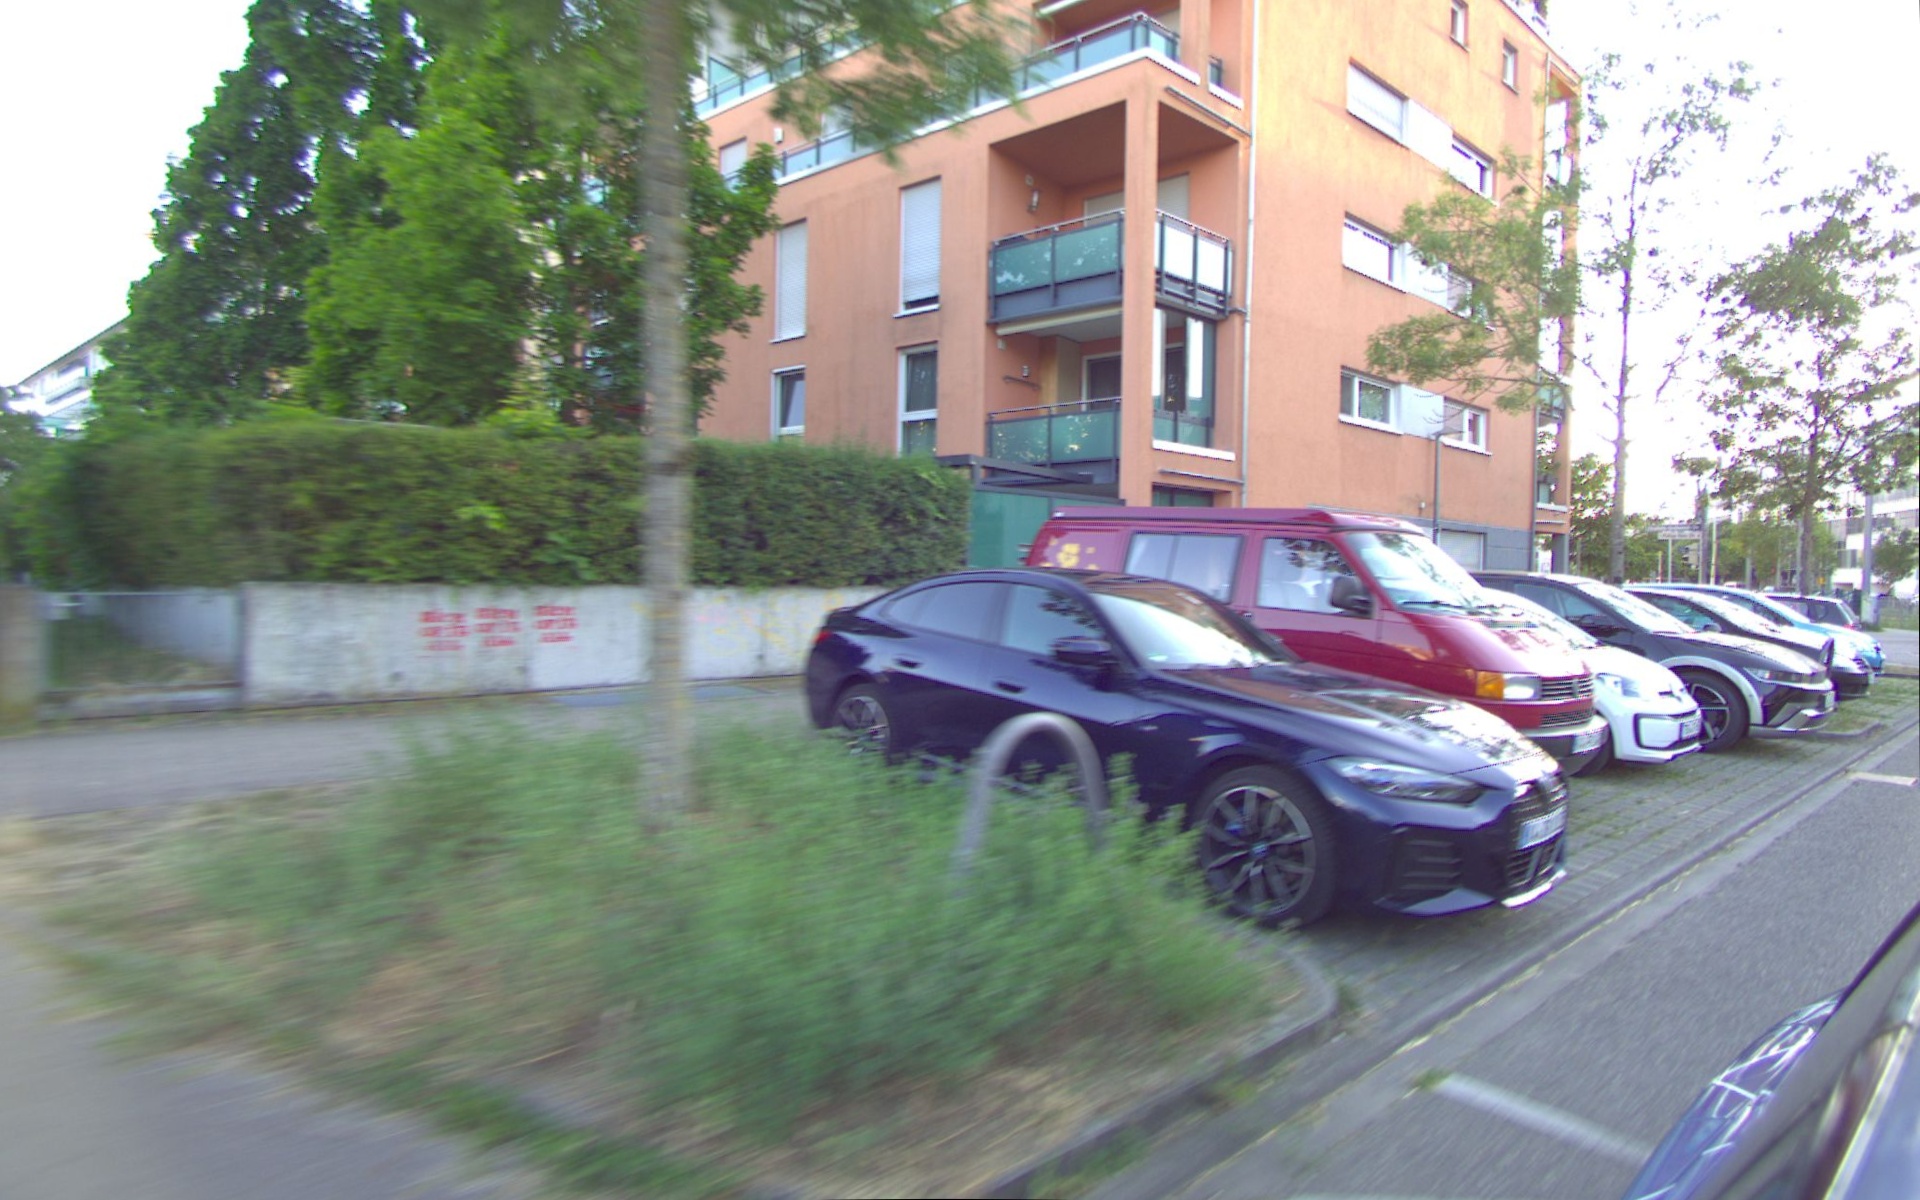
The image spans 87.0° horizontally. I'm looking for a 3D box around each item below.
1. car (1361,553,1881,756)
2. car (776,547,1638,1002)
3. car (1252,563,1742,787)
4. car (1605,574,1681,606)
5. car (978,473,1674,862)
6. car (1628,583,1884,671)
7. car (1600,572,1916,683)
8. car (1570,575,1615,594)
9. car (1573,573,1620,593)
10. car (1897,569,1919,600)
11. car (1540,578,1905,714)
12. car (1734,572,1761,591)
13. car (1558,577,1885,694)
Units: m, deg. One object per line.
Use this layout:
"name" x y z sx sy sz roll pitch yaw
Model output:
"car" 6.704 0.382 10.694 1.761 1.588 4.226 0 4 -40
"car" 0.923 0.524 5.857 1.780 1.576 4.677 0 2 -41
"car" 4.646 0.489 9.153 1.587 1.482 3.534 0 4 -40
"car" 45.869 -0.691 68.050 3.959 2.038 1.983 1 1 26
"car" 2.487 0.286 8.124 1.980 2.143 4.932 0 2 -39
"car" 15.384 0.454 19.681 1.587 1.491 3.752 0 2 -45
"car" 13.809 0.374 17.726 1.643 1.588 4.060 0 3 -40
"car" 70.761 -1.784 113.321 3.953 2.039 1.986 1 1 22
"car" 69.101 -1.868 109.860 3.953 2.039 1.986 1 1 22
"car" 90.840 -1.427 95.129 1.985 2.911 6.204 3 2 24
"car" 10.336 0.500 13.950 1.513 1.513 3.781 -4 4 -40
"car" 110.839 -2.609 142.454 1.976 2.617 3.971 1 1 22
"car" 11.954 0.454 16.095 1.591 1.588 3.885 0 2 -40
